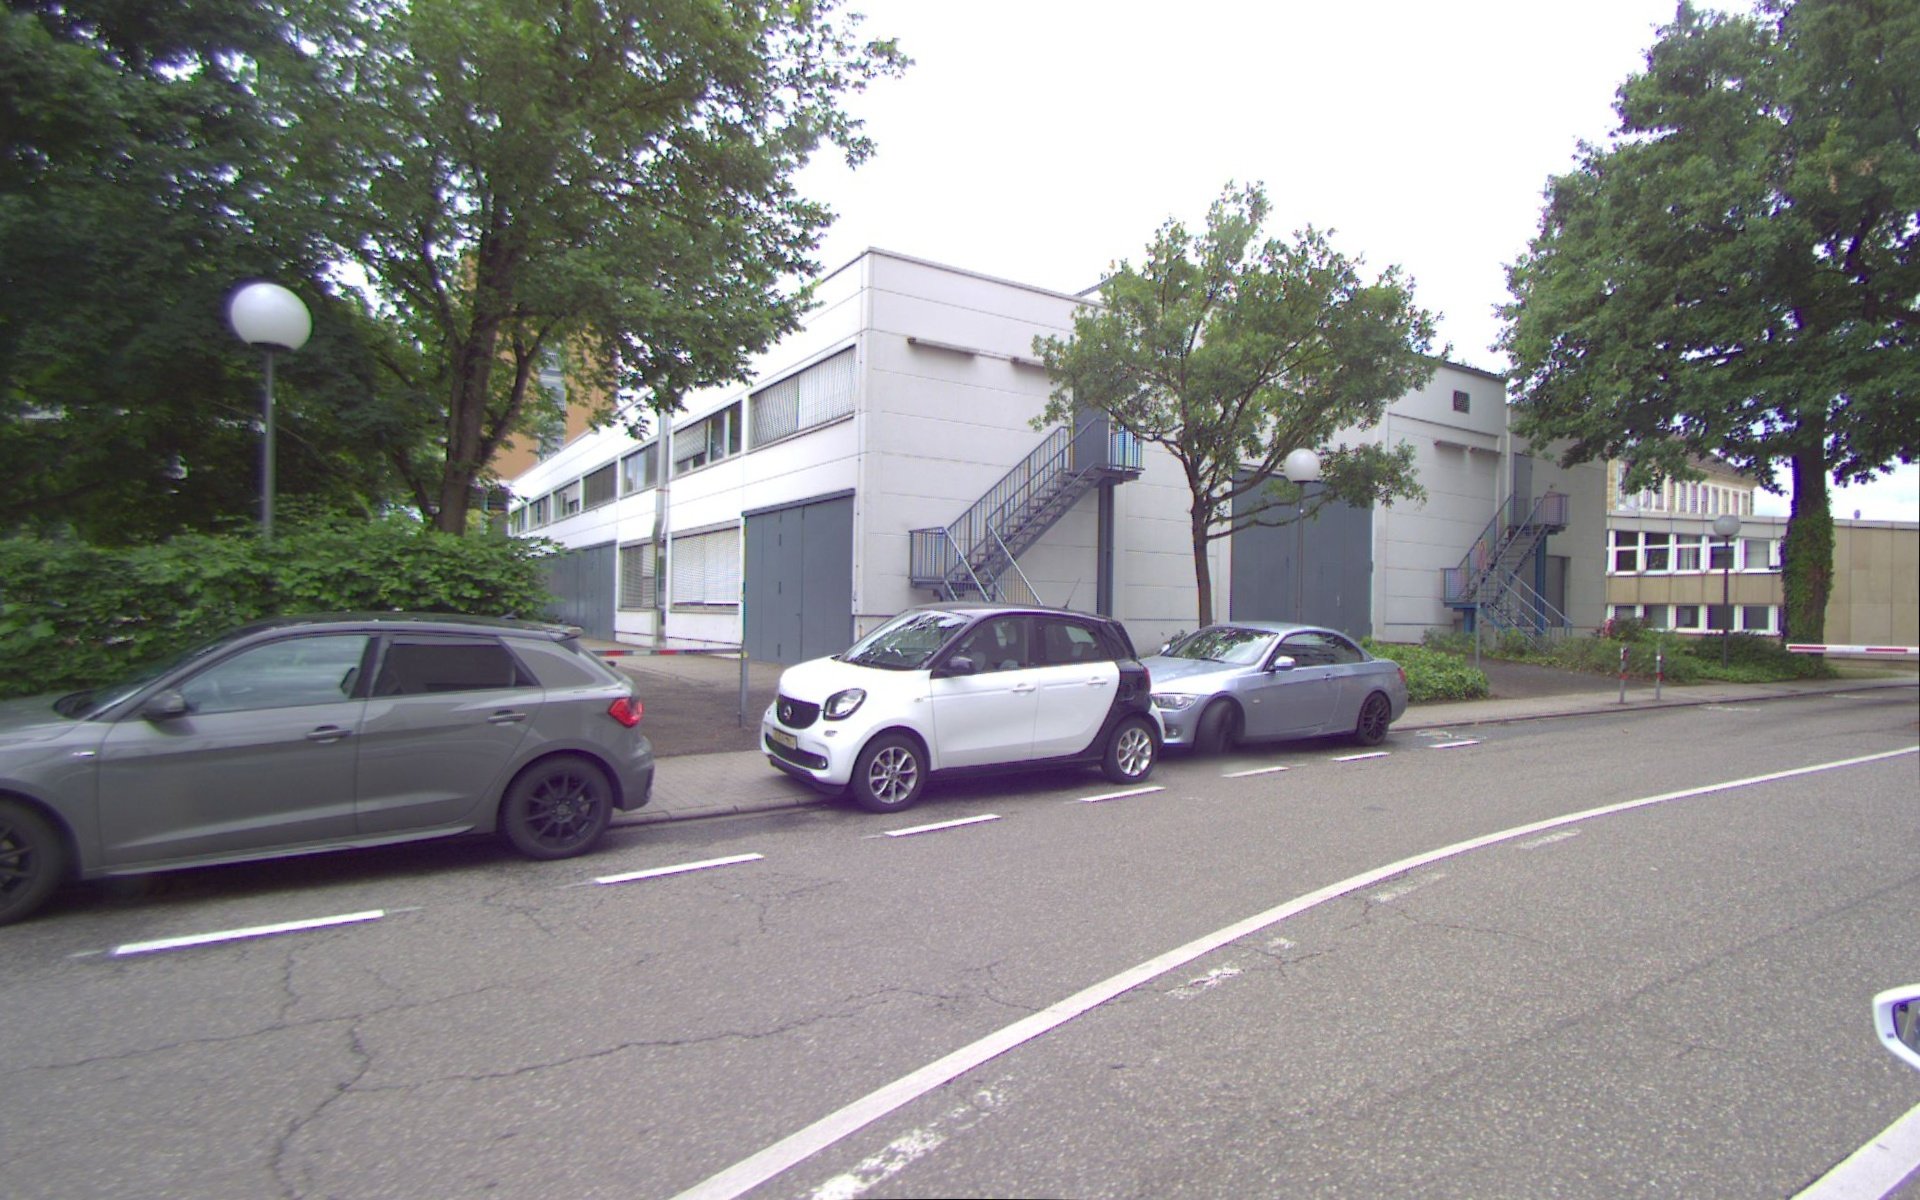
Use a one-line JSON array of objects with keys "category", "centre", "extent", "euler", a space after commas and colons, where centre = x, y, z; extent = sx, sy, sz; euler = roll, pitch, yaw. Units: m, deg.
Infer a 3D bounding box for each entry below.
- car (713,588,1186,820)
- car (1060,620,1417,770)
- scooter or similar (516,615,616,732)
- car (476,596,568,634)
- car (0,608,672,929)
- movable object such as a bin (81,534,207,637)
[{"category": "car", "centre": [-0.010, 0.730, 8.751], "extent": [3.837, 1.607, 1.705], "euler": [0, 0, -34]}, {"category": "car", "centre": [3.331, 0.968, 11.702], "extent": [4.153, 1.407, 1.805], "euler": [1, 0, -36]}, {"category": "scooter or similar", "centre": [-4.394, 0.786, 11.284], "extent": [0.441, 1.226, 1.307], "euler": [1, 0, 8]}, {"category": "car", "centre": [-18.913, 0.635, 43.348], "extent": [3.704, 1.550, 1.874], "euler": [0, -1, 33]}, {"category": "car", "centre": [-3.924, 0.781, 5.887], "extent": [3.967, 1.430, 1.752], "euler": [1, 0, -35]}, {"category": "movable object such as a bin", "centre": [-19.260, -0.241, 23.896], "extent": [1.981, 2.200, 4.624], "euler": [1, -2, -35]}]
